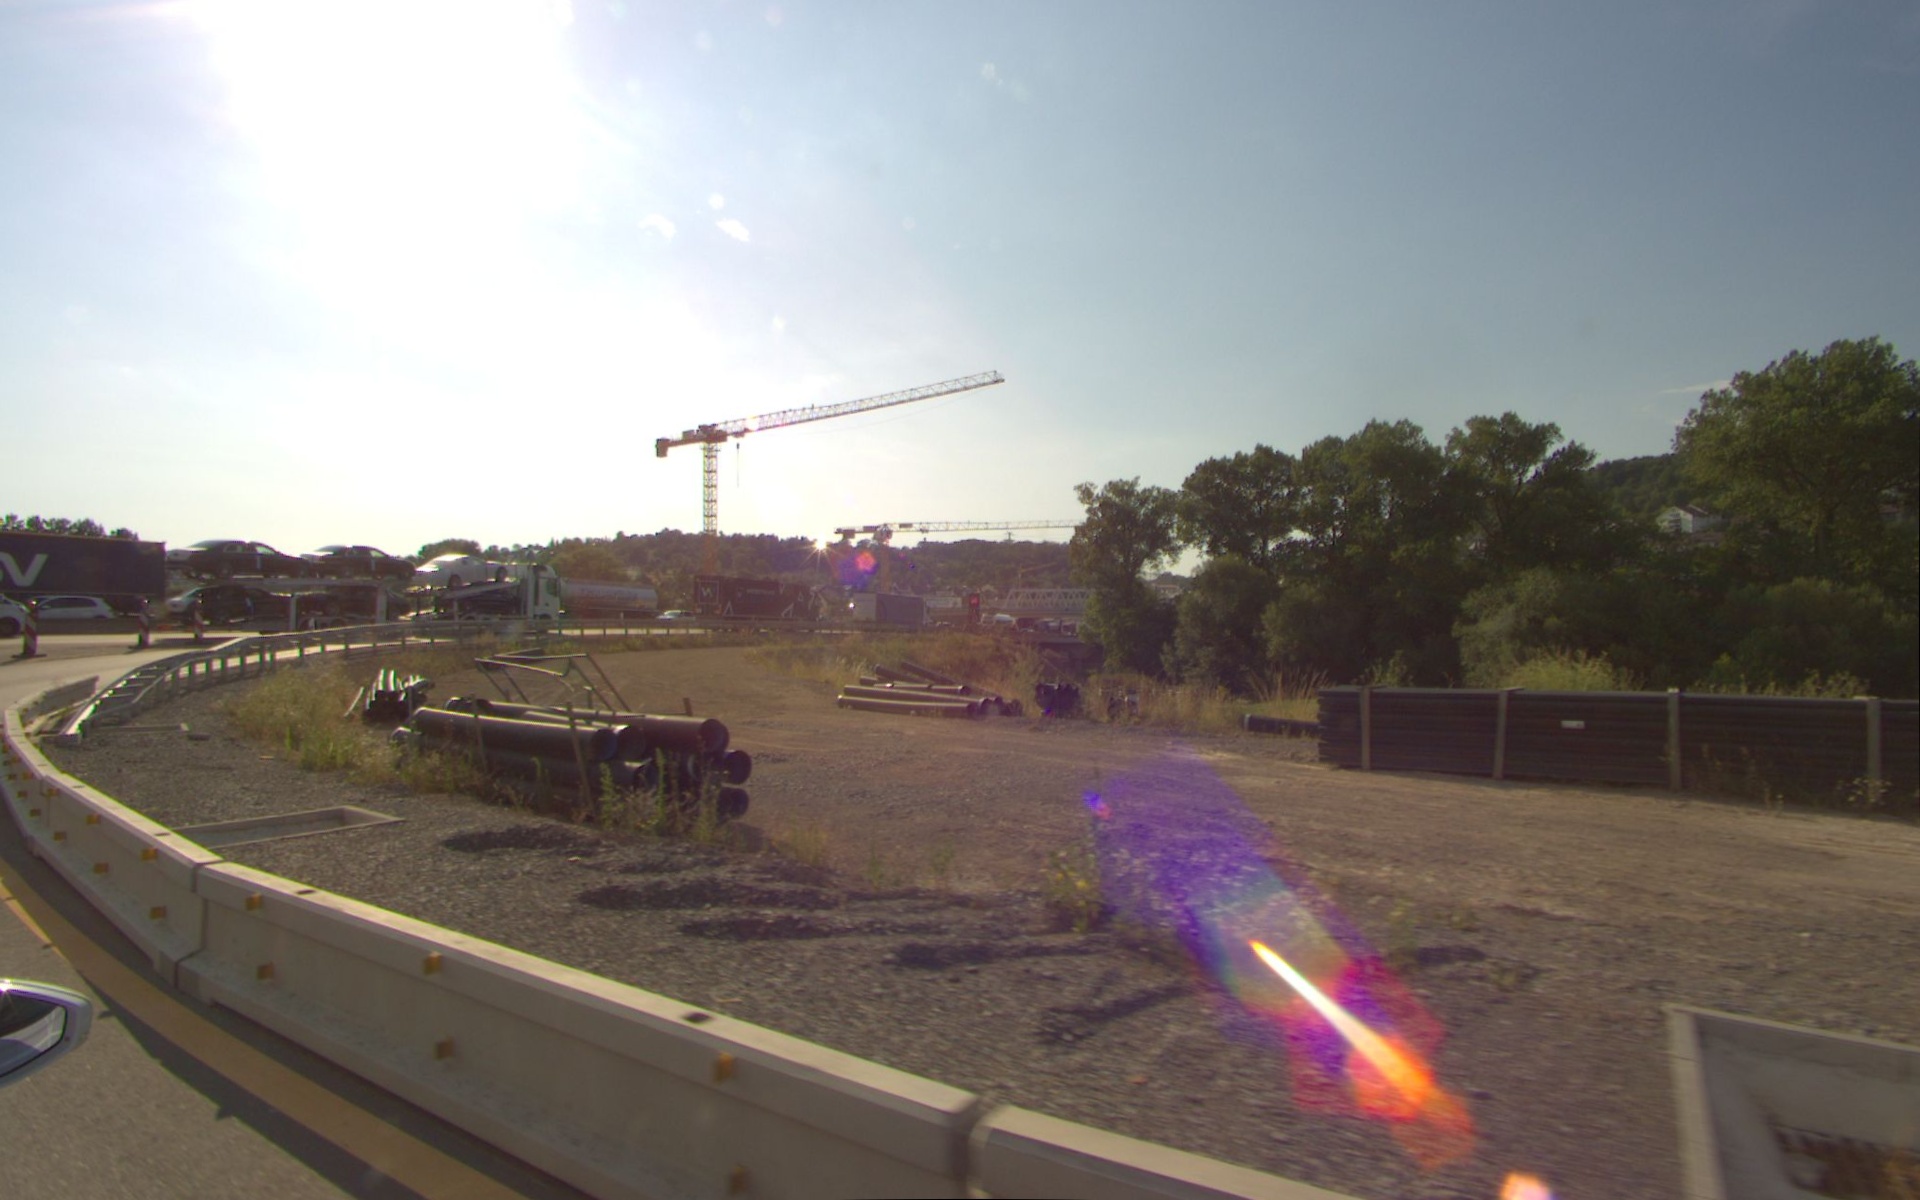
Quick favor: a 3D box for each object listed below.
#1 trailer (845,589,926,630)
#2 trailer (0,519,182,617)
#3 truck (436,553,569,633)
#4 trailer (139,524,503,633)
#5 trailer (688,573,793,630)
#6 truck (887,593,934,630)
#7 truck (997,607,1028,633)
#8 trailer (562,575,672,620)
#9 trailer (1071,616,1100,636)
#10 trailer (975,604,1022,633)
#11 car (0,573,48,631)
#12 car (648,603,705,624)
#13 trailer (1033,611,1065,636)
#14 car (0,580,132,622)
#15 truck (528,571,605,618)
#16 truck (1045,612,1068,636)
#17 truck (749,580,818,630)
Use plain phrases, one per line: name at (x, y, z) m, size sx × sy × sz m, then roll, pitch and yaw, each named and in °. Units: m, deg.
trailer at (-7.691, 1.138, 107.047) m, size 3.334 × 4.047 × 14.728 m, roll 1°, pitch -2°, yaw 17°
trailer at (-39.060, -1.262, 42.466) m, size 2.963 × 3.799 × 9.557 m, roll 0°, pitch -2°, yaw 18°
truck at (-24.704, -0.278, 54.457) m, size 2.806 × 4.048 × 6.617 m, roll 1°, pitch -1°, yaw 17°
trailer at (-27.581, -0.574, 45.258) m, size 2.815 × 4.047 × 15.728 m, roll 1°, pitch -2°, yaw 17°
trailer at (-16.927, 0.253, 78.413) m, size 2.915 × 4.144 × 10.779 m, roll 0°, pitch -2°, yaw 18°
truck at (-5.562, 1.371, 113.811) m, size 3.293 × 4.048 × 6.617 m, roll 1°, pitch -1°, yaw 17°
truck at (8.342, 3.180, 158.378) m, size 3.340 × 4.048 × 6.617 m, roll 1°, pitch -1°, yaw 17°
trailer at (-26.918, -0.108, 79.394) m, size 2.109 × 3.174 × 10.967 m, roll 0°, pitch -2°, yaw 18°
trailer at (27.861, 5.781, 221.710) m, size 4.036 × 4.369 × 14.236 m, roll 1°, pitch -1°, yaw 17°
trailer at (6.008, 2.880, 150.806) m, size 3.334 × 4.047 × 14.728 m, roll 1°, pitch -2°, yaw 17°
car at (-34.560, 0.008, 33.980) m, size 1.998 × 2.007 × 4.972 m, roll 3°, pitch 0°, yaw 18°
car at (-23.046, 1.111, 81.541) m, size 1.998 × 1.520 × 4.972 m, roll 3°, pitch 0°, yaw 18°
trailer at (16.727, 4.445, 186.680) m, size 3.057 × 4.369 × 14.236 m, roll 1°, pitch -1°, yaw 17°
car at (-36.267, 0.066, 40.332) m, size 1.632 × 1.520 × 4.232 m, roll 3°, pitch 0°, yaw 18°
truck at (-28.854, -0.344, 73.636) m, size 2.109 × 3.174 × 5.680 m, roll 0°, pitch -2°, yaw 18°
truck at (18.654, 4.653, 192.976) m, size 3.052 × 4.340 × 6.617 m, roll 1°, pitch -1°, yaw 17°
truck at (-14.851, 0.471, 84.660) m, size 2.843 × 4.048 × 6.615 m, roll 1°, pitch -1°, yaw 19°
